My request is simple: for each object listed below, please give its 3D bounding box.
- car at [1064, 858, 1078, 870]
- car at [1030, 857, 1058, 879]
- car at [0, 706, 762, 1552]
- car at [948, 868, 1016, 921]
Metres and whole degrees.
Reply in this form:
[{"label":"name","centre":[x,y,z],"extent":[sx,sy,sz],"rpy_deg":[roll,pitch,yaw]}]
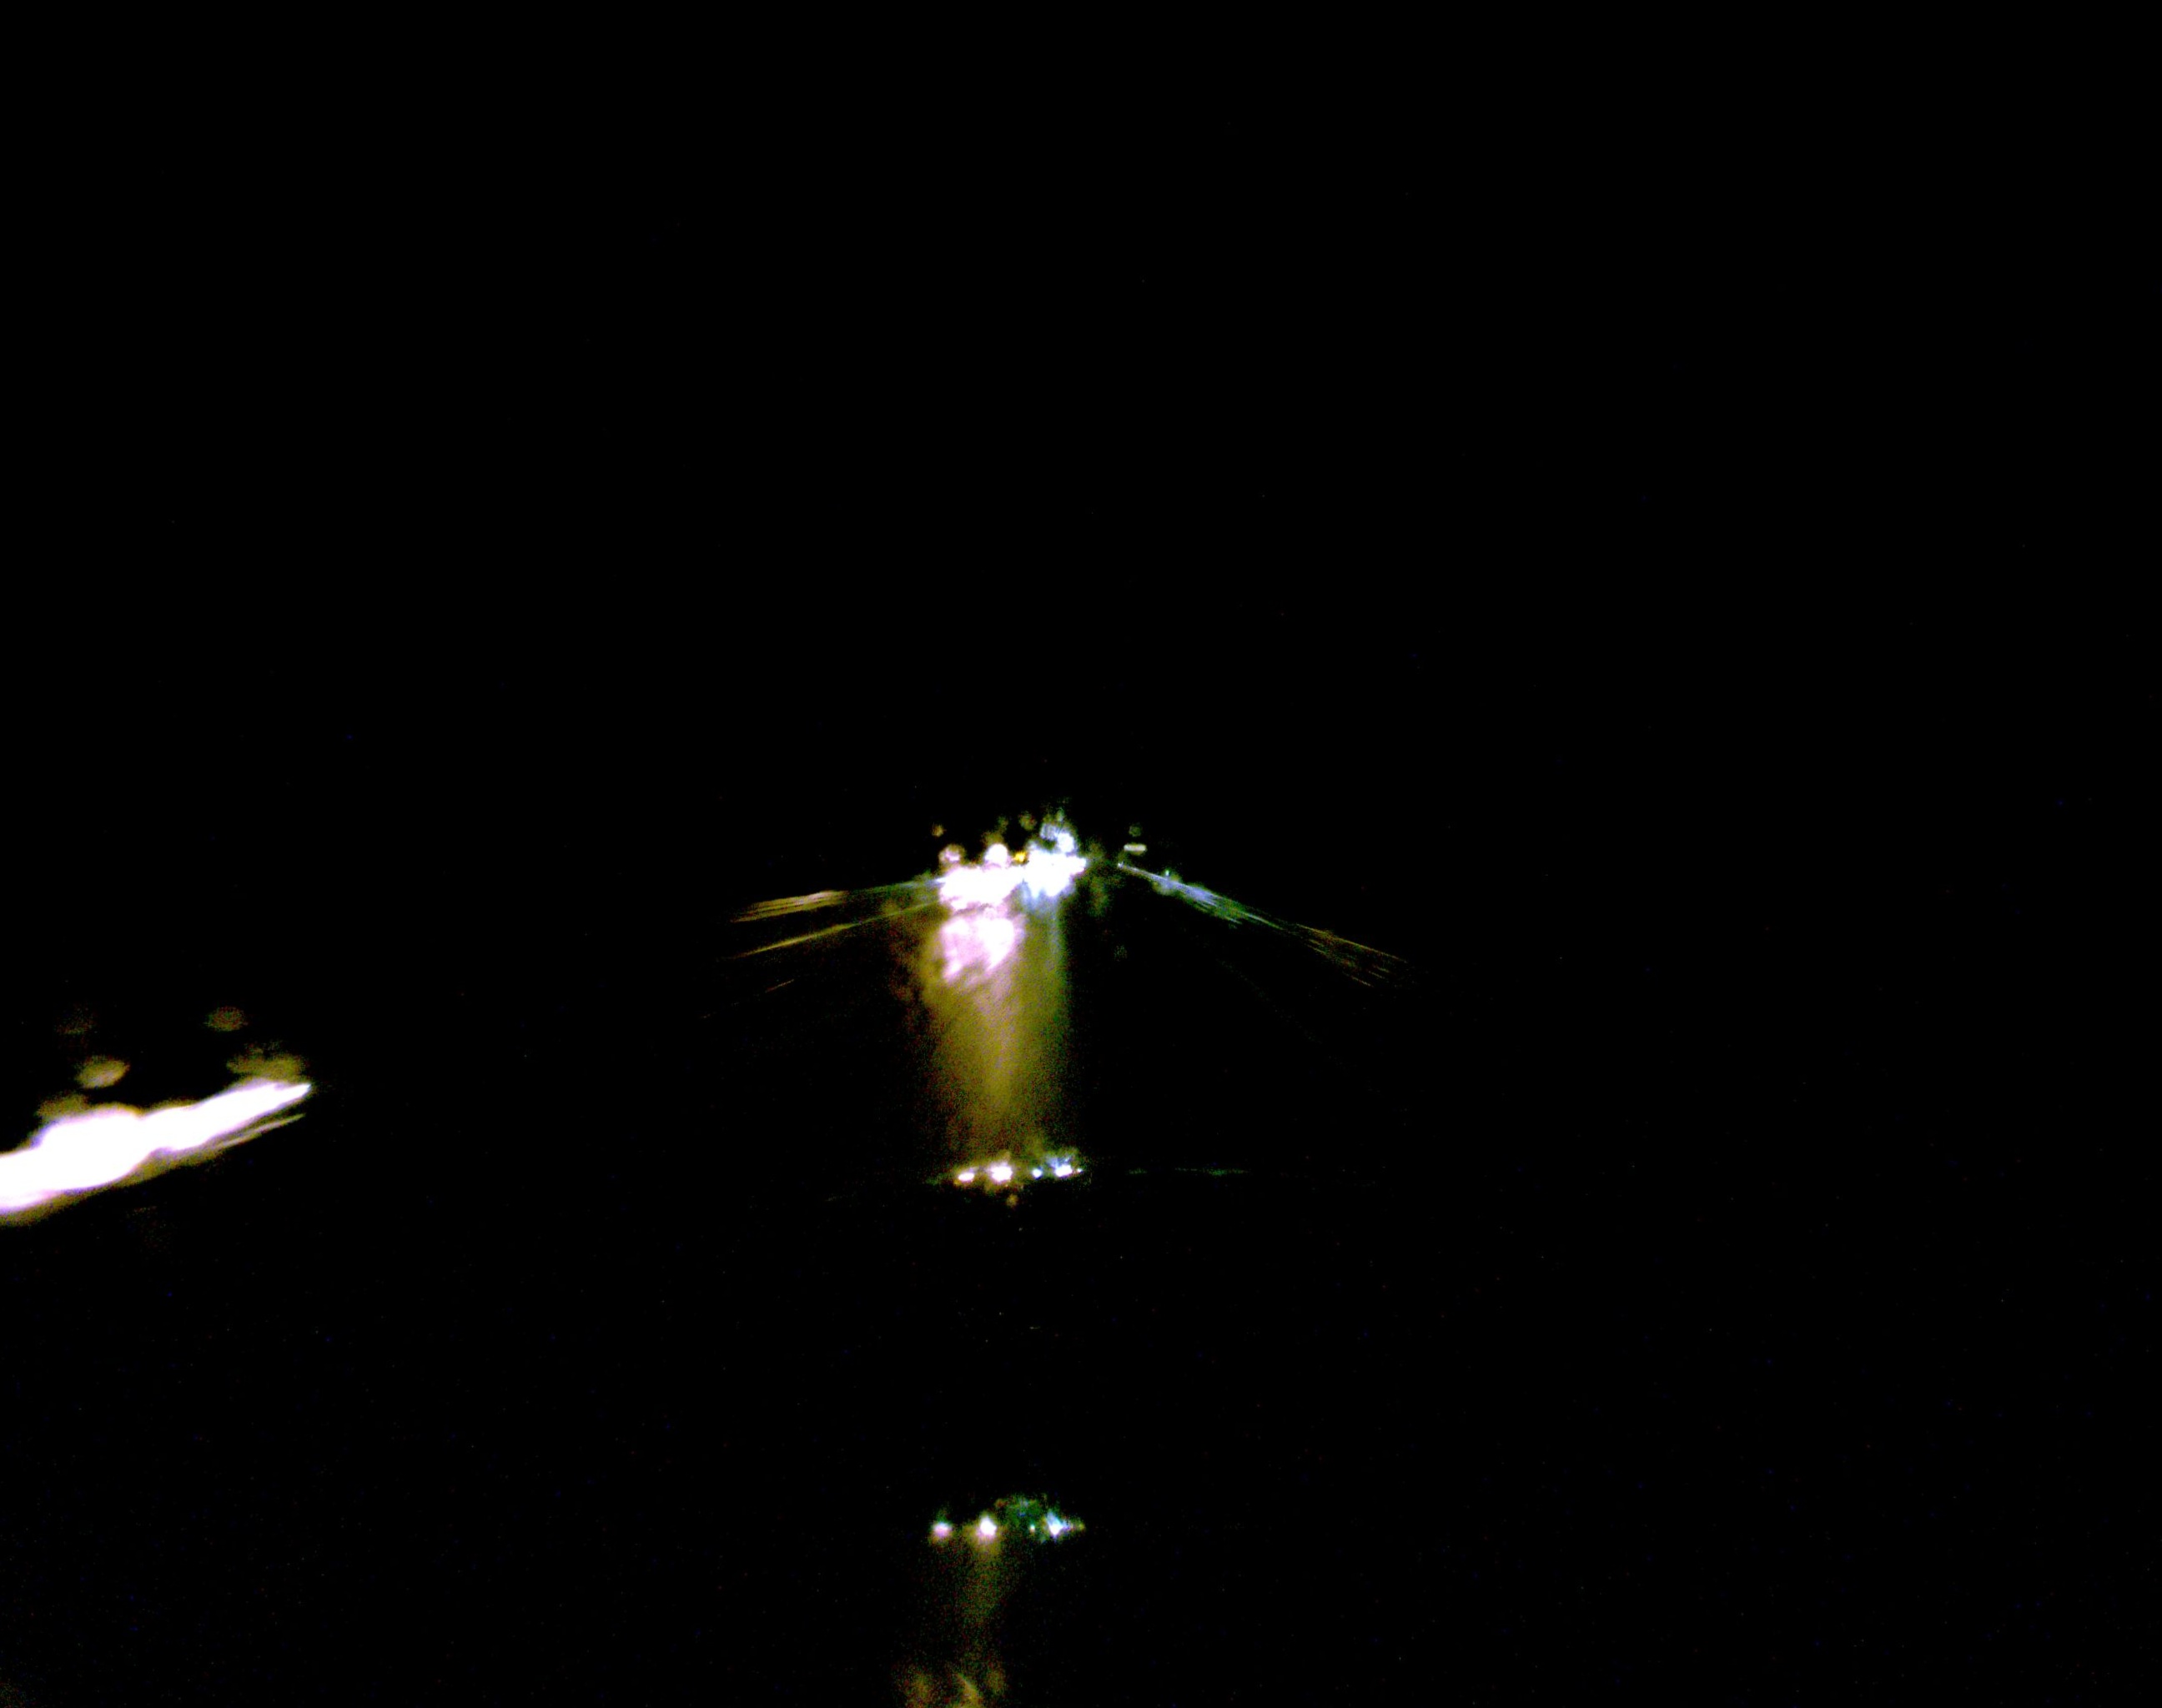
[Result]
[{"label":"car","centre":[-1.402,1.427,117.940],"extent":[1.862,1.612,3.846],"rpy_deg":[-1,0,0]},{"label":"car","centre":[-2.443,0.906,54.299],"extent":[1.635,1.359,3.680],"rpy_deg":[-1,0,0]},{"label":"car","centre":[-3.277,0.617,3.705],"extent":[1.826,1.871,4.429],"rpy_deg":[-1,0,1]},{"label":"car","centre":[-2.989,1.209,25.224],"extent":[1.659,1.456,3.426],"rpy_deg":[-1,0,0]}]
